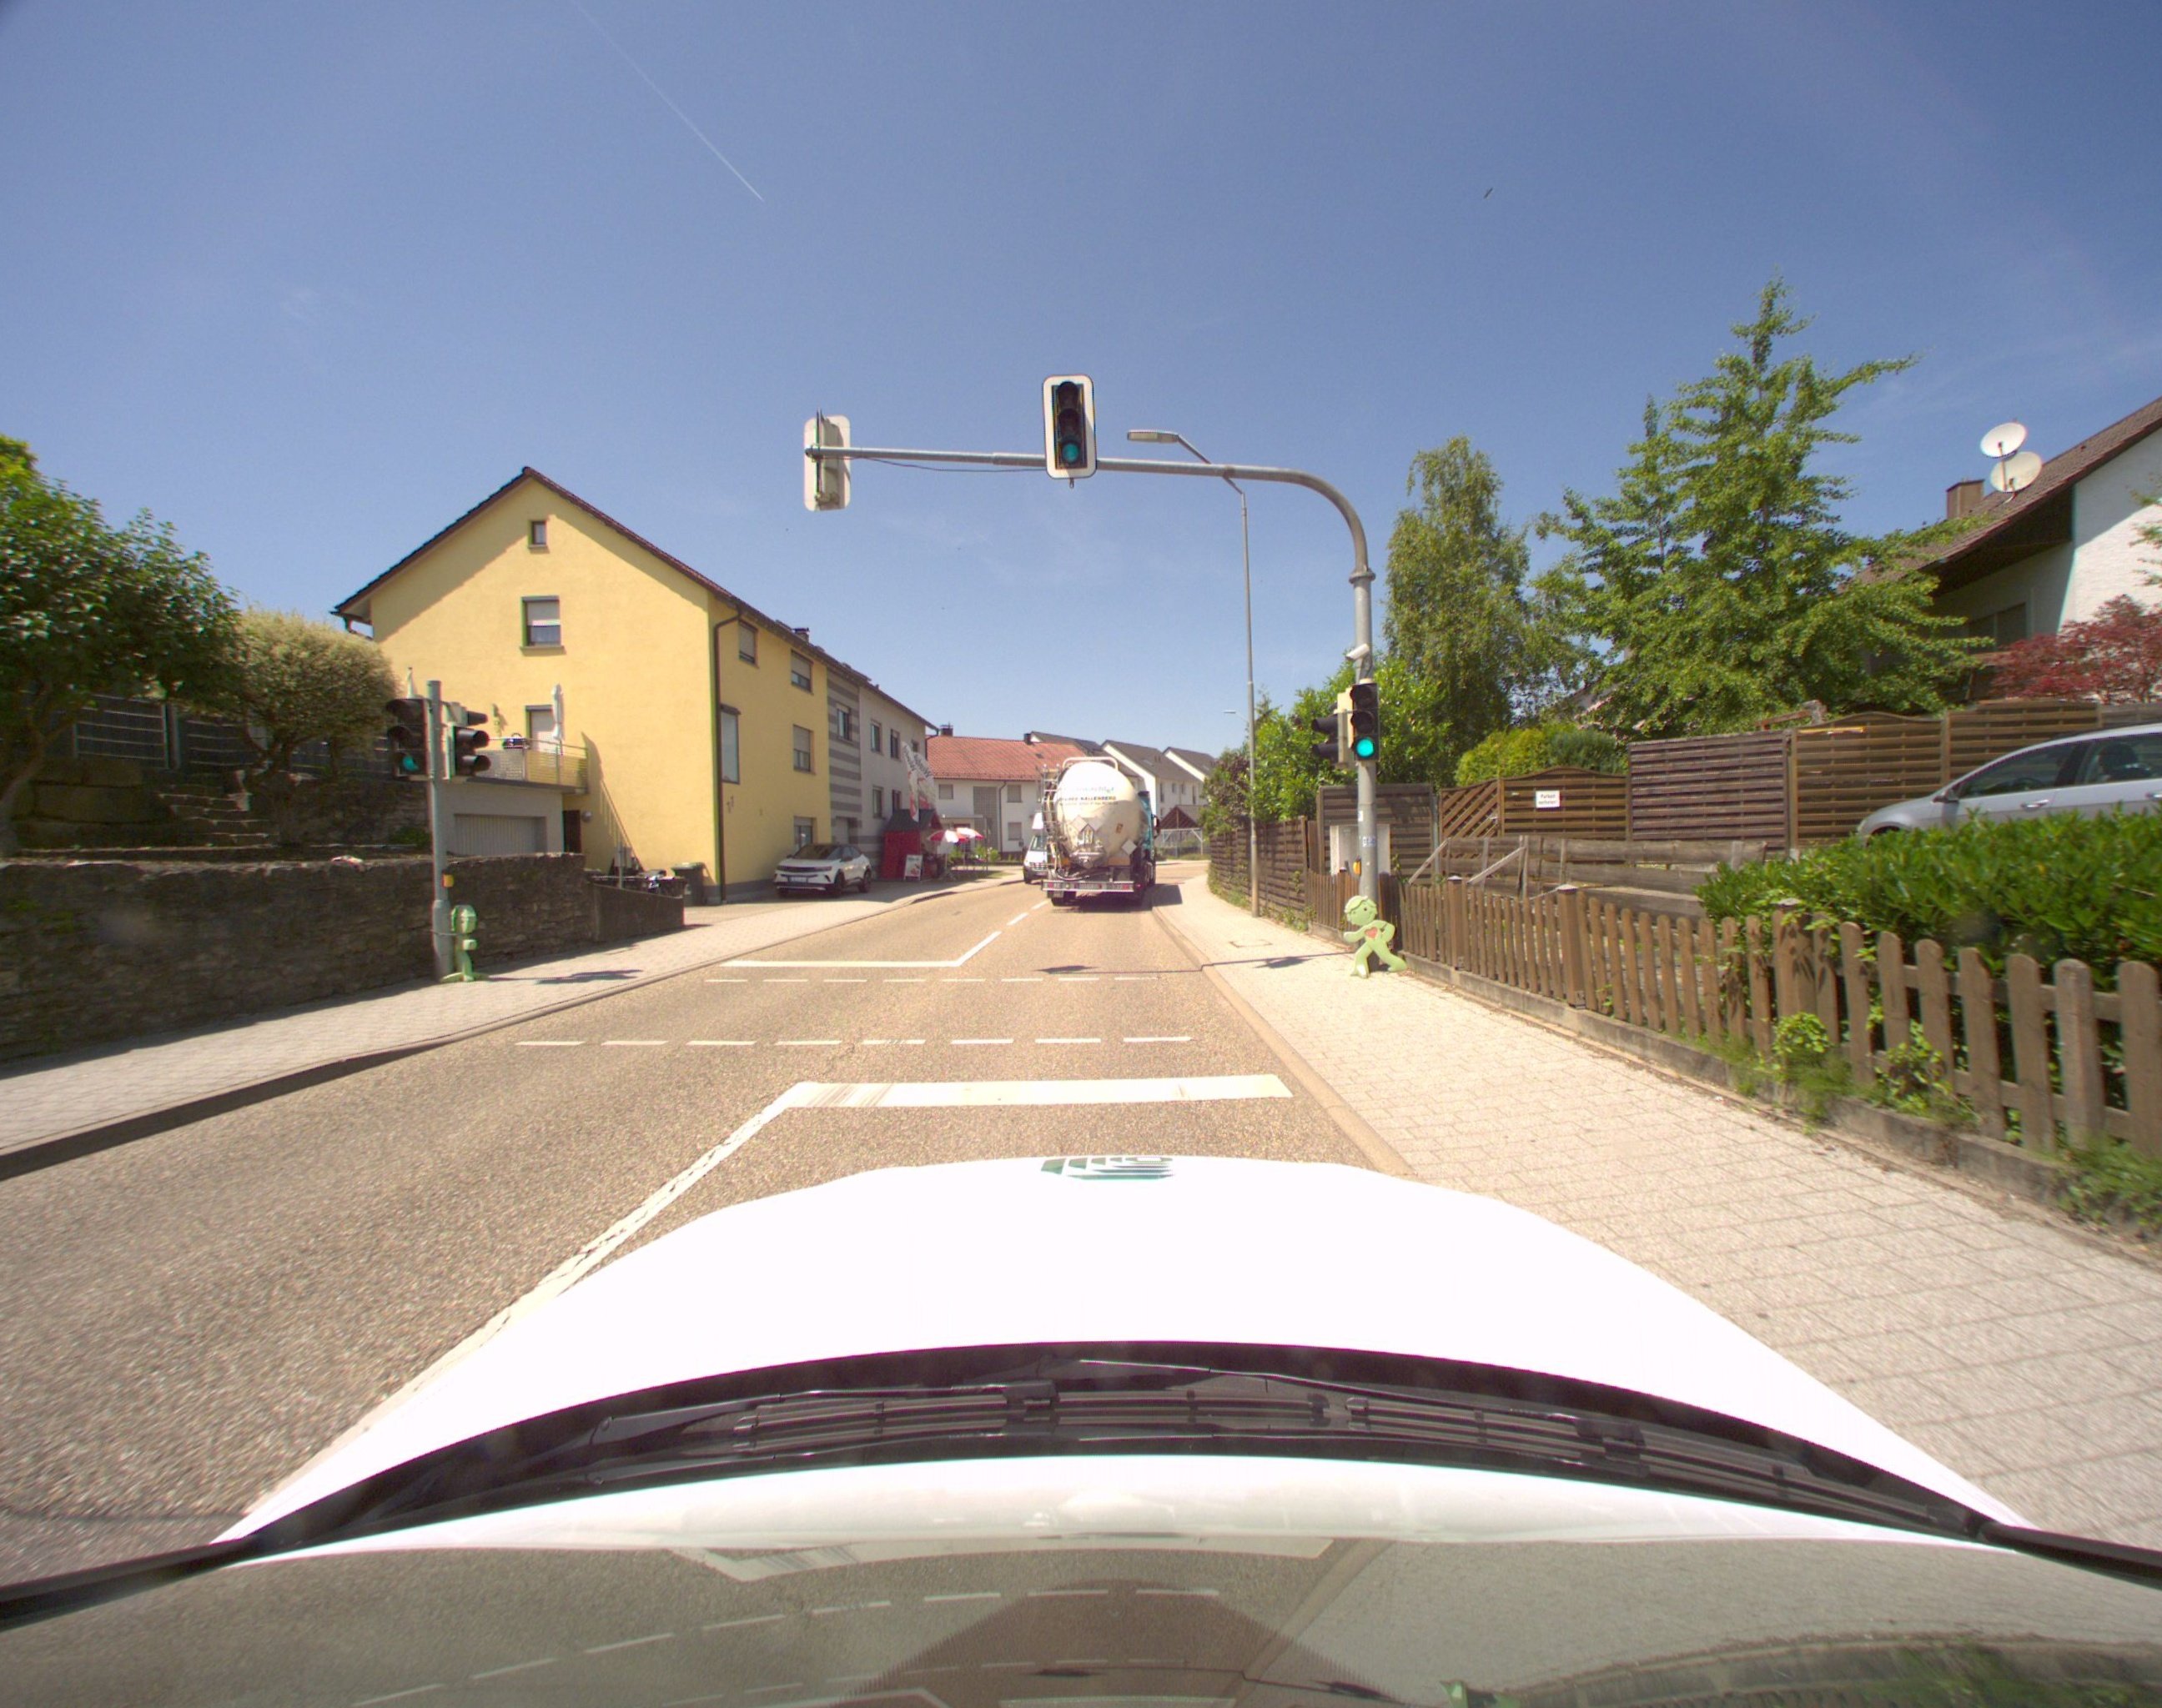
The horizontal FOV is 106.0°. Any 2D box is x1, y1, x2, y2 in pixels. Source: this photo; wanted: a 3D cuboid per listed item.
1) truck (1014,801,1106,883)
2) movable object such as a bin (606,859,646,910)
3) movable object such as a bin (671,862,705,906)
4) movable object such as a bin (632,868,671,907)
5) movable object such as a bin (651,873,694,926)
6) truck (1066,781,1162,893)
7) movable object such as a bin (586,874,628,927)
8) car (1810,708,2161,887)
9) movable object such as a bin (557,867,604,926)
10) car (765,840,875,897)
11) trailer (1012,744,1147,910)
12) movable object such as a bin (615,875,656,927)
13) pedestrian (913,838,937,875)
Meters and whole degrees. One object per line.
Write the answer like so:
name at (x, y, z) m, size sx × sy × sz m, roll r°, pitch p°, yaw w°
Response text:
truck at (-0.776, -0.572, 37.752) m, size 2.450 × 3.367 × 7.643 m, roll 2°, pitch 1°, yaw 12°
movable object such as a bin at (-10.936, 0.714, 19.592) m, size 0.550 × 1.196 × 0.695 m, roll -1°, pitch 0°, yaw 1°
movable object such as a bin at (-9.533, 0.723, 19.756) m, size 0.499 × 1.043 × 0.608 m, roll -1°, pitch 0°, yaw 1°
movable object such as a bin at (-10.262, 0.795, 19.475) m, size 0.595 × 0.910 × 0.608 m, roll -1°, pitch 0°, yaw 1°
movable object such as a bin at (-7.601, 0.844, 15.167) m, size 0.499 × 0.948 × 0.554 m, roll 0°, pitch 0°, yaw 1°
truck at (1.500, -0.680, 33.351) m, size 2.970 × 3.964 × 5.594 m, roll -4°, pitch 0°, yaw 9°
movable object such as a bin at (-8.815, 0.860, 15.161) m, size 0.445 × 0.938 × 0.531 m, roll -1°, pitch 0°, yaw 1°
car at (9.714, -0.572, 7.654) m, size 1.624 × 1.463 × 4.505 m, roll -8°, pitch 0°, yaw 2°
movable object such as a bin at (-9.343, 0.787, 15.213) m, size 0.469 × 1.055 × 0.634 m, roll 0°, pitch 0°, yaw 1°
car at (-7.615, 0.374, 24.188) m, size 1.723 × 1.552 × 4.191 m, roll -1°, pitch 1°, yaw 3°
trailer at (0.436, -0.722, 25.654) m, size 2.938 × 3.947 × 11.638 m, roll -2°, pitch 1°, yaw 6°
movable object such as a bin at (-8.302, 0.868, 15.186) m, size 0.445 × 0.928 × 0.562 m, roll 0°, pitch 0°, yaw 1°
pedestrian at (-6.767, 0.097, 35.317) m, size 0.605 × 1.587 × 0.814 m, roll -1°, pitch 0°, yaw 34°
